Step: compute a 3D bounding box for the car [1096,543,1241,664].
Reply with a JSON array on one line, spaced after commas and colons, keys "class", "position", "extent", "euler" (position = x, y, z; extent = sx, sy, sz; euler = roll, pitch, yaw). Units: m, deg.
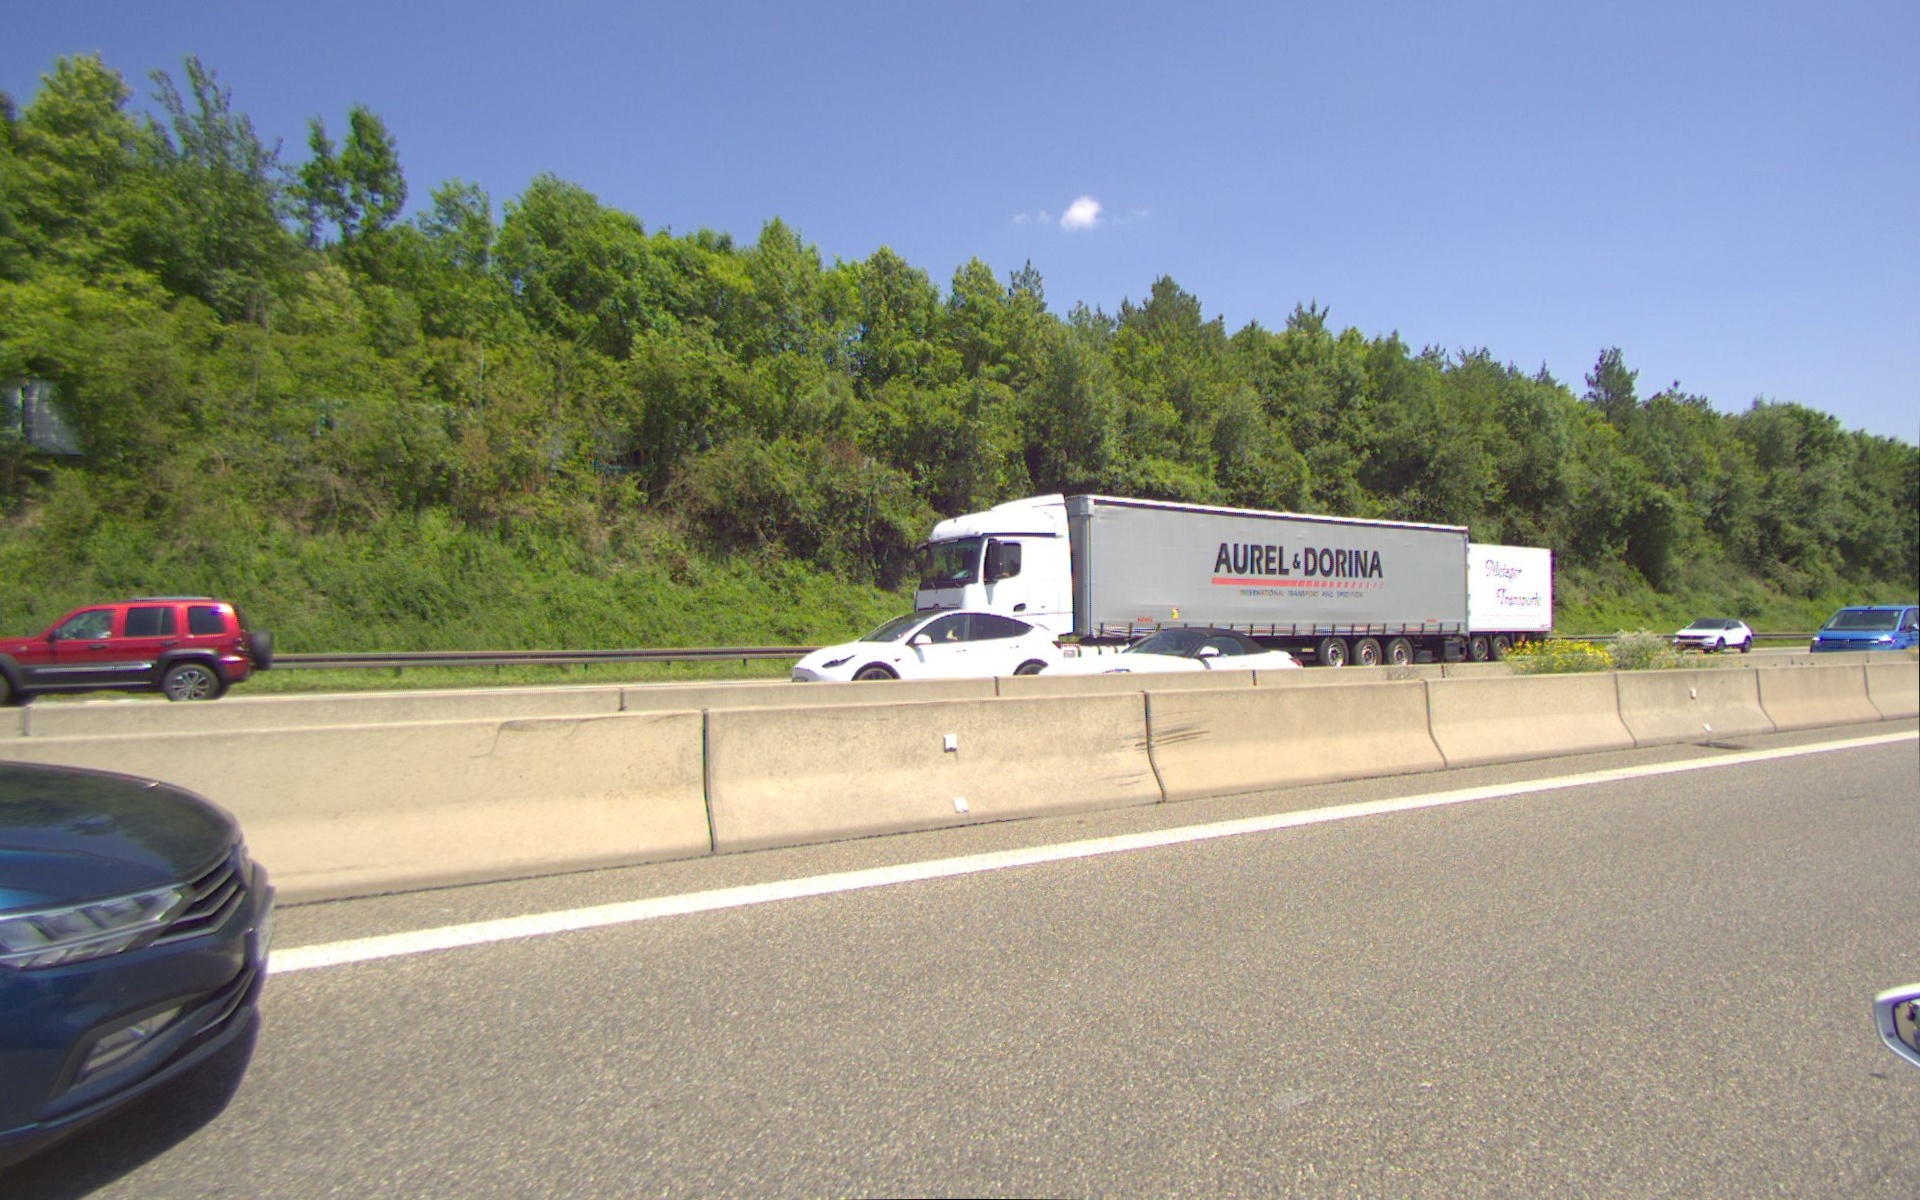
[{"class": "car", "position": [7.234, 0.182, 34.861], "extent": [4.513, 3.925, 2.437], "euler": [1, -2, -31]}]

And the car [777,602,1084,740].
[{"class": "car", "position": [-0.430, 1.113, 16.494], "extent": [4.695, 1.975, 1.984], "euler": [2, -2, -31]}]

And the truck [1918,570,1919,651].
[{"class": "truck", "position": [53.940, 0.636, 53.059], "extent": [7.508, 4.220, 2.791], "euler": [2, -2, -29]}]

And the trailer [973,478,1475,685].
[{"class": "trailer", "position": [7.270, -0.148, 25.321], "extent": [14.565, 4.220, 2.822], "euler": [2, -2, -30]}]

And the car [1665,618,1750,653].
[{"class": "car", "position": [33.936, 1.603, 45.590], "extent": [4.141, 1.486, 1.658], "euler": [1, -1, -31]}]

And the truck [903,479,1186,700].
[{"class": "truck", "position": [1.885, -0.151, 22.037], "extent": [5.593, 4.270, 2.827], "euler": [1, -1, -30]}]

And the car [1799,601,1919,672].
[{"class": "car", "position": [25.983, 1.044, 28.424], "extent": [4.978, 1.871, 1.903], "euler": [2, -2, -31]}]

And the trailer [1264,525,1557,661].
[{"class": "trailer", "position": [15.911, -0.001, 34.811], "extent": [12.484, 4.100, 2.793], "euler": [2, -2, -32]}]

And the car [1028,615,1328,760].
[{"class": "car", "position": [3.167, 1.180, 14.461], "extent": [3.954, 1.817, 1.984], "euler": [2, -2, -31]}]

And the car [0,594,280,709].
[{"class": "car", "position": [-14.067, 0.849, 16.798], "extent": [4.327, 1.774, 1.667], "euler": [2, -2, -31]}]

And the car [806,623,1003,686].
[{"class": "car", "position": [-1.309, 1.271, 24.177], "extent": [4.448, 1.388, 1.754], "euler": [1, -1, -30]}]

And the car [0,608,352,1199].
[{"class": "car", "position": [-4.011, 0.729, 2.036], "extent": [4.674, 1.446, 1.724], "euler": [1, -2, -30]}]
